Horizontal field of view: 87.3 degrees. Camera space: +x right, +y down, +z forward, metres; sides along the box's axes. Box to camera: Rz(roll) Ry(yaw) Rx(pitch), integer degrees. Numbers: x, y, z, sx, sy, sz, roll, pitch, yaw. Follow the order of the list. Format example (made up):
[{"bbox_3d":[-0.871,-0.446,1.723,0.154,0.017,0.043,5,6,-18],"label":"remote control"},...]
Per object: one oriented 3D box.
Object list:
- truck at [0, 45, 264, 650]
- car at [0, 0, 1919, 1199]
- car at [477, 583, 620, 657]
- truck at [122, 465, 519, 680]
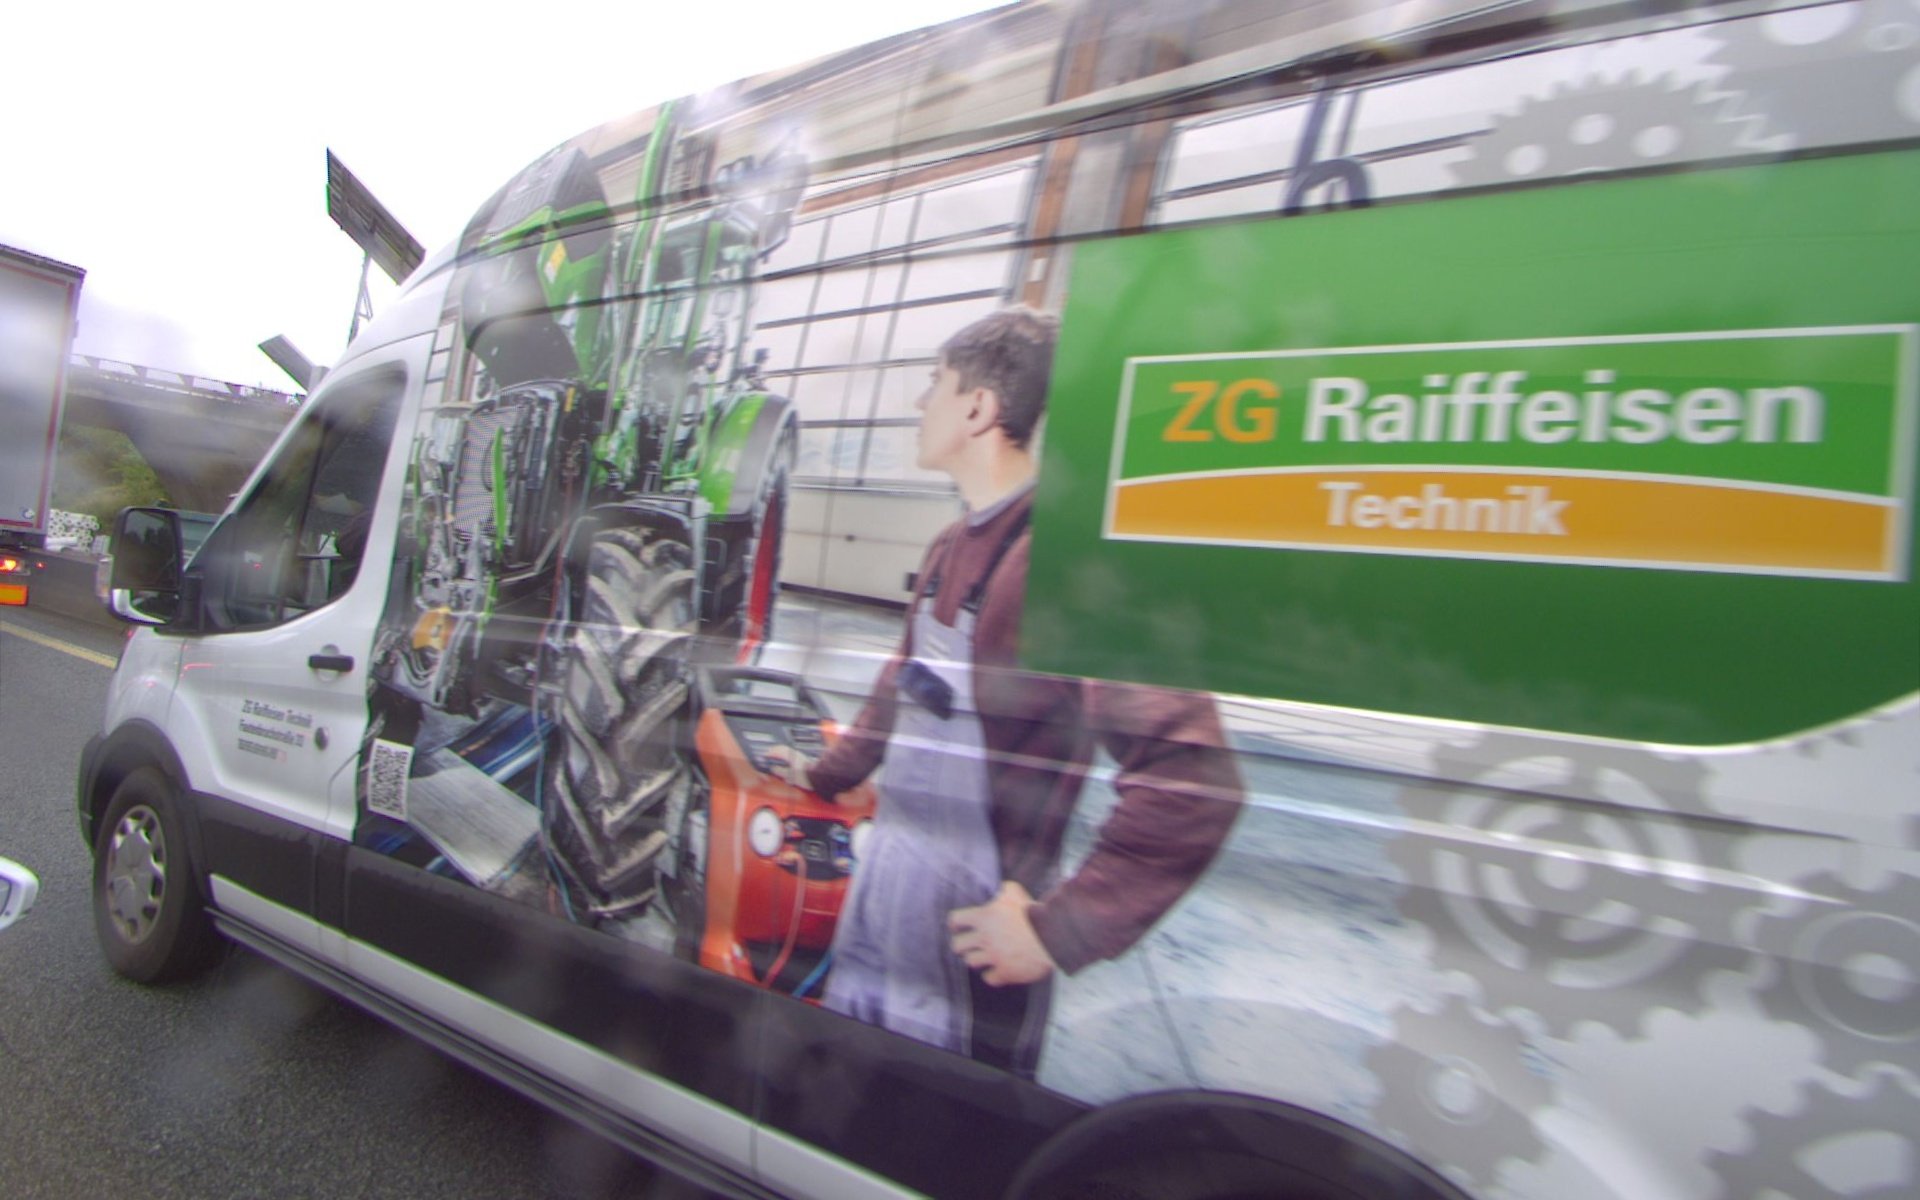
[{"bbox_3d":[-17.883,-3.387,15.247,20.039,5.740,3.986,6,-1,32],"label":"truck"},{"bbox_3d":[-0.414,0.094,2.937,6.018,2.707,2.147,6,-1,33],"label":"car"},{"bbox_3d":[-13.664,0.644,33.311,4.651,1.850,1.945,6,-2,34],"label":"car"},{"bbox_3d":[-12.573,-0.672,19.383,8.967,3.168,2.525,6,-1,32],"label":"truck"}]
